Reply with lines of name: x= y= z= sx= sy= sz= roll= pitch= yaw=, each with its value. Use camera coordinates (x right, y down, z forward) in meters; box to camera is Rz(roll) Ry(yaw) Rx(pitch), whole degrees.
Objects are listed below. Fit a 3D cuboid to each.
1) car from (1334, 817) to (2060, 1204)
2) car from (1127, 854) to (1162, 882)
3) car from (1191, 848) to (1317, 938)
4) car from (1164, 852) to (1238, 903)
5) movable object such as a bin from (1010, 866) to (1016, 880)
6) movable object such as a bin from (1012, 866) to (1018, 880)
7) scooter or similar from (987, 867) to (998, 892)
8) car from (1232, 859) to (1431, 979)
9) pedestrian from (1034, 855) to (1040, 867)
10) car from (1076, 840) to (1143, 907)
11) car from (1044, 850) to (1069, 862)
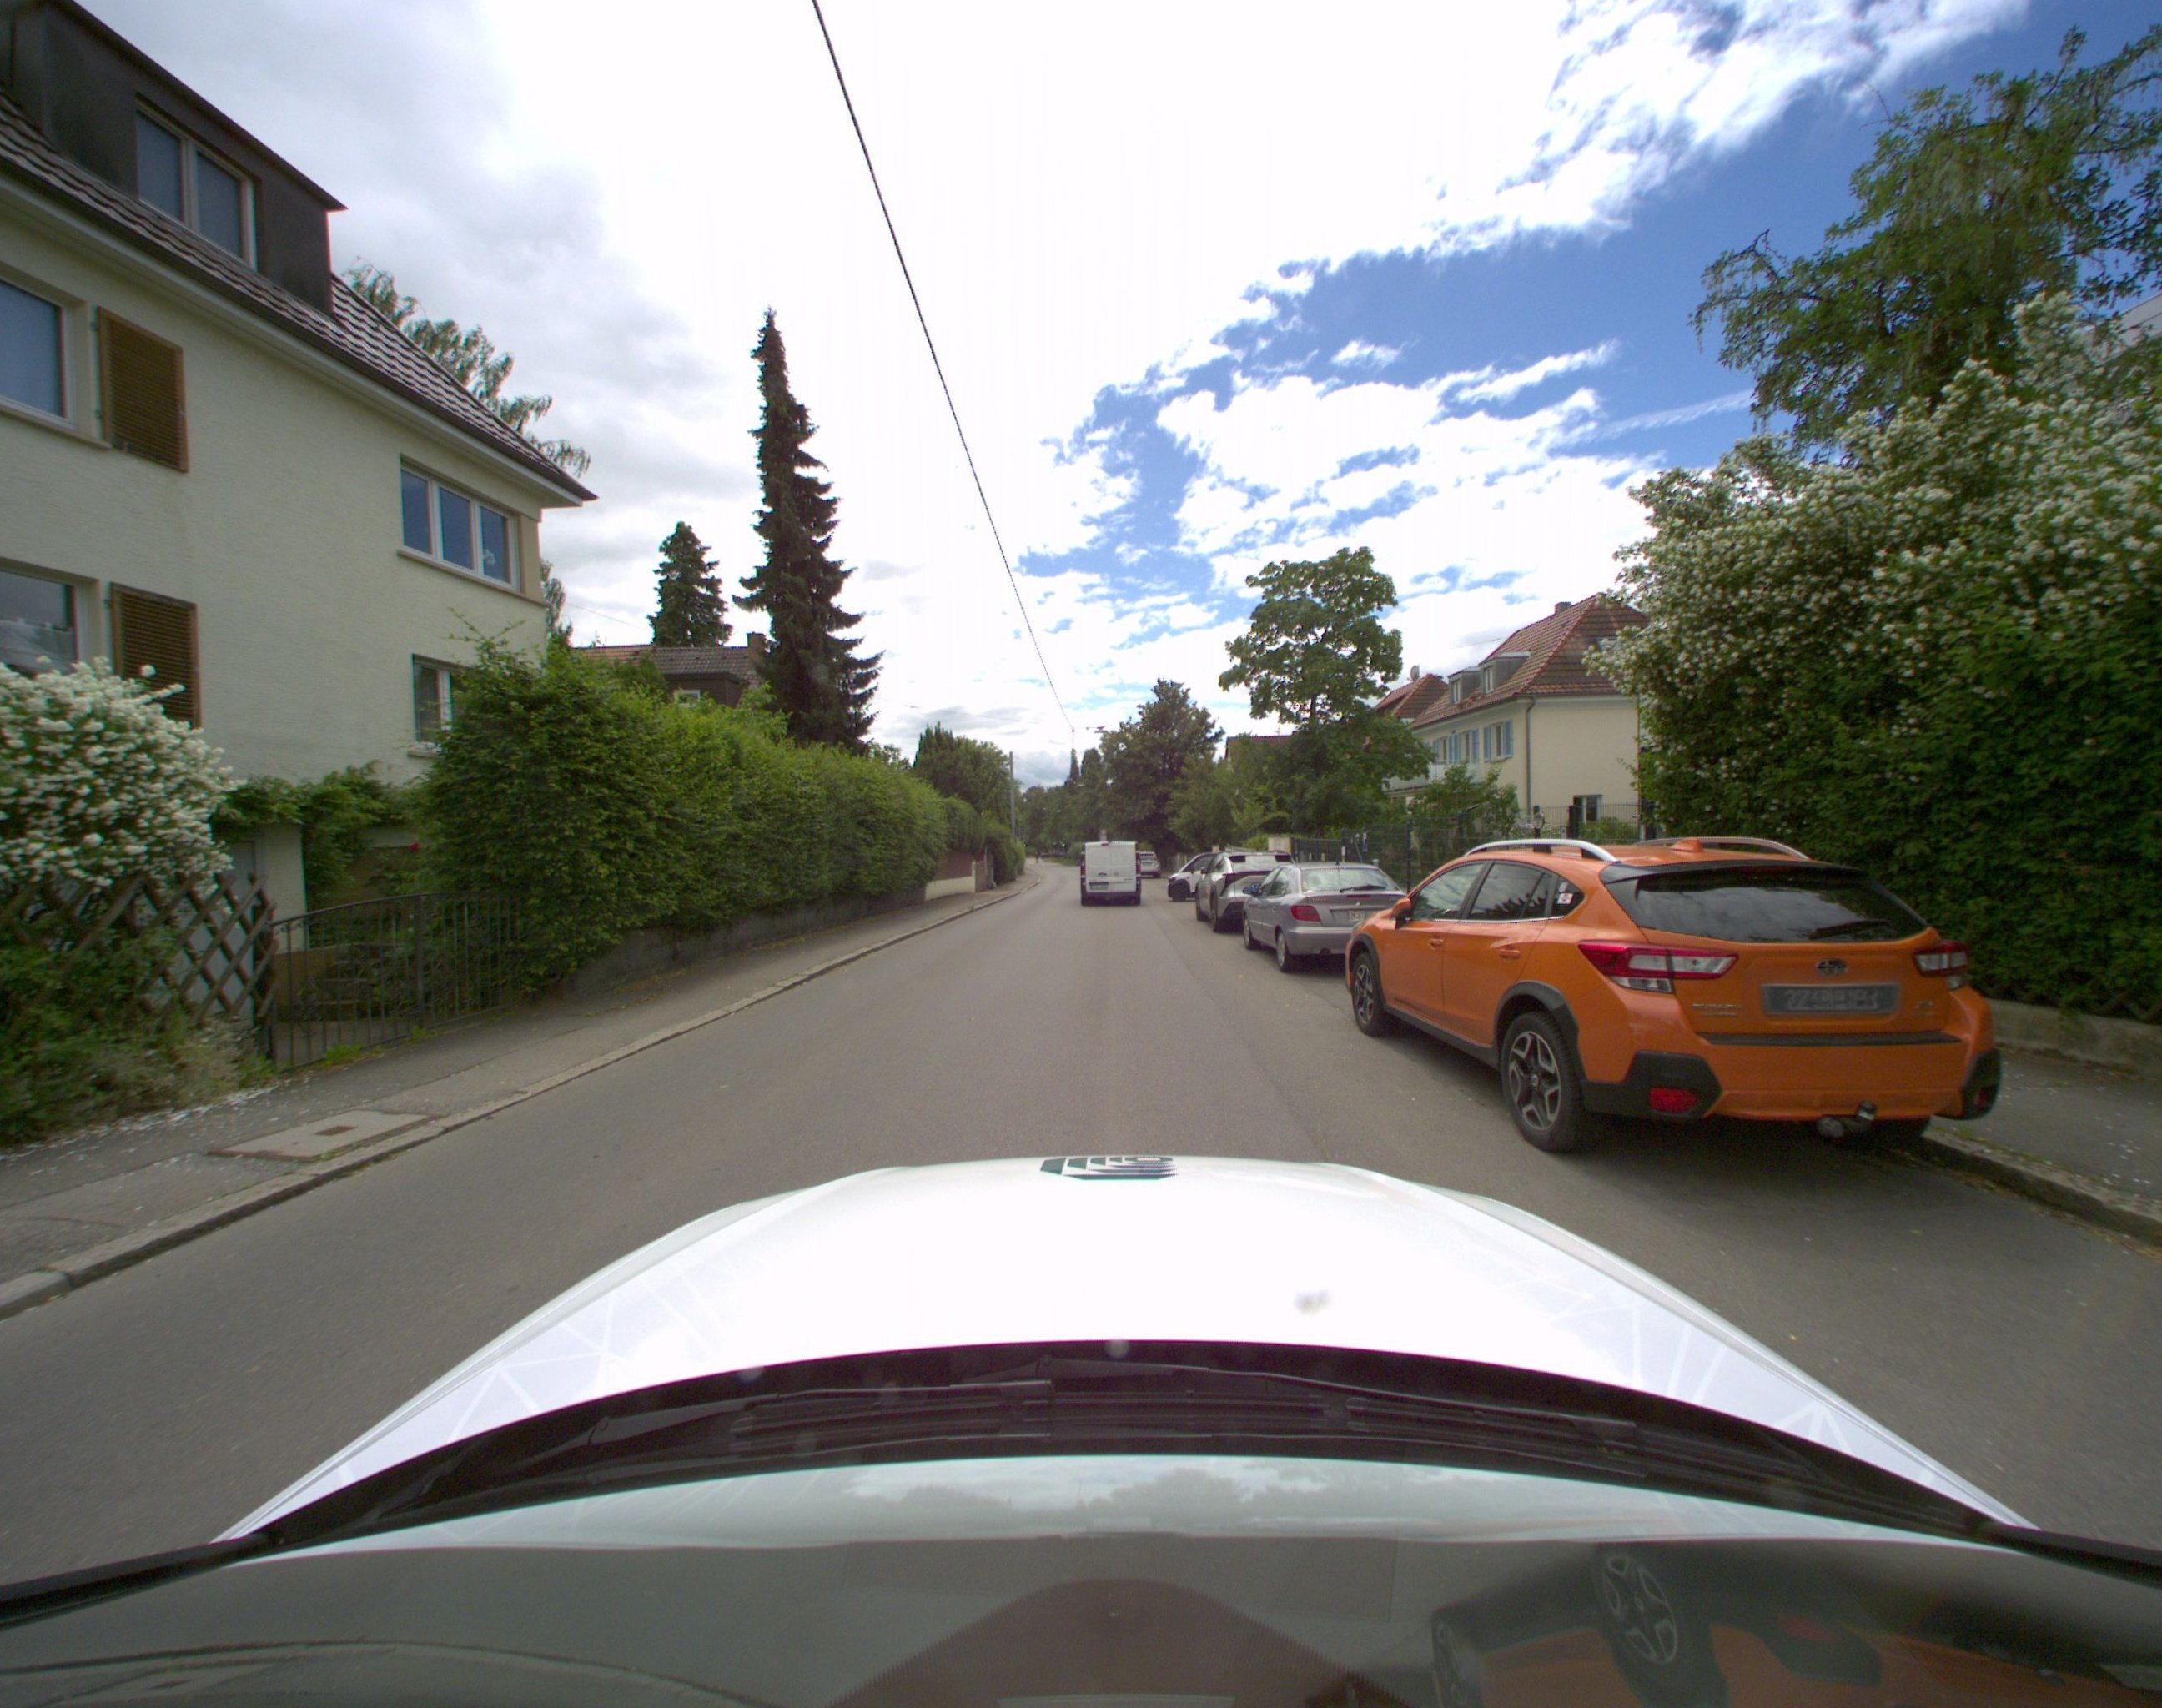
car: x=3.273 y=0.669 z=5.559 sx=1.844 sy=1.626 sz=4.170 roll=-1 pitch=0 yaw=1
car: x=4.068 y=0.849 z=52.681 sx=1.860 sy=1.685 sz=4.349 roll=-1 pitch=0 yaw=-1
car: x=3.515 y=0.718 z=17.362 sx=1.822 sy=1.623 sz=4.494 roll=-1 pitch=0 yaw=2
car: x=3.895 y=0.765 z=26.670 sx=2.275 sy=1.524 sz=1.320 roll=-2 pitch=0 yaw=6
movable object such as a bin: x=-4.348 y=1.196 z=52.218 sx=0.335 sy=0.893 sz=0.476 roll=-1 pitch=0 yaw=3
movable object such as a bin: x=-4.304 y=1.254 z=52.880 sx=0.335 sy=0.893 sz=0.476 roll=-1 pitch=0 yaw=2
scooter or similar: x=-4.416 y=1.272 z=40.561 sx=0.390 sy=1.171 sz=1.270 roll=-2 pitch=0 yaw=0
car: x=3.413 y=0.795 z=11.934 sx=1.710 sy=1.382 sz=4.237 roll=-1 pitch=0 yaw=2
pedestrian: x=-6.357 y=1.035 z=117.441 sx=0.696 sy=1.616 sz=0.714 roll=-2 pitch=2 yaw=-5
car: x=0.862 y=0.550 z=26.461 sx=1.923 sy=1.964 sz=4.402 roll=-1 pitch=1 yaw=0
car: x=-4.305 y=0.342 z=142.869 sx=4.379 sy=1.859 sz=1.901 roll=-1 pitch=1 yaw=-3
